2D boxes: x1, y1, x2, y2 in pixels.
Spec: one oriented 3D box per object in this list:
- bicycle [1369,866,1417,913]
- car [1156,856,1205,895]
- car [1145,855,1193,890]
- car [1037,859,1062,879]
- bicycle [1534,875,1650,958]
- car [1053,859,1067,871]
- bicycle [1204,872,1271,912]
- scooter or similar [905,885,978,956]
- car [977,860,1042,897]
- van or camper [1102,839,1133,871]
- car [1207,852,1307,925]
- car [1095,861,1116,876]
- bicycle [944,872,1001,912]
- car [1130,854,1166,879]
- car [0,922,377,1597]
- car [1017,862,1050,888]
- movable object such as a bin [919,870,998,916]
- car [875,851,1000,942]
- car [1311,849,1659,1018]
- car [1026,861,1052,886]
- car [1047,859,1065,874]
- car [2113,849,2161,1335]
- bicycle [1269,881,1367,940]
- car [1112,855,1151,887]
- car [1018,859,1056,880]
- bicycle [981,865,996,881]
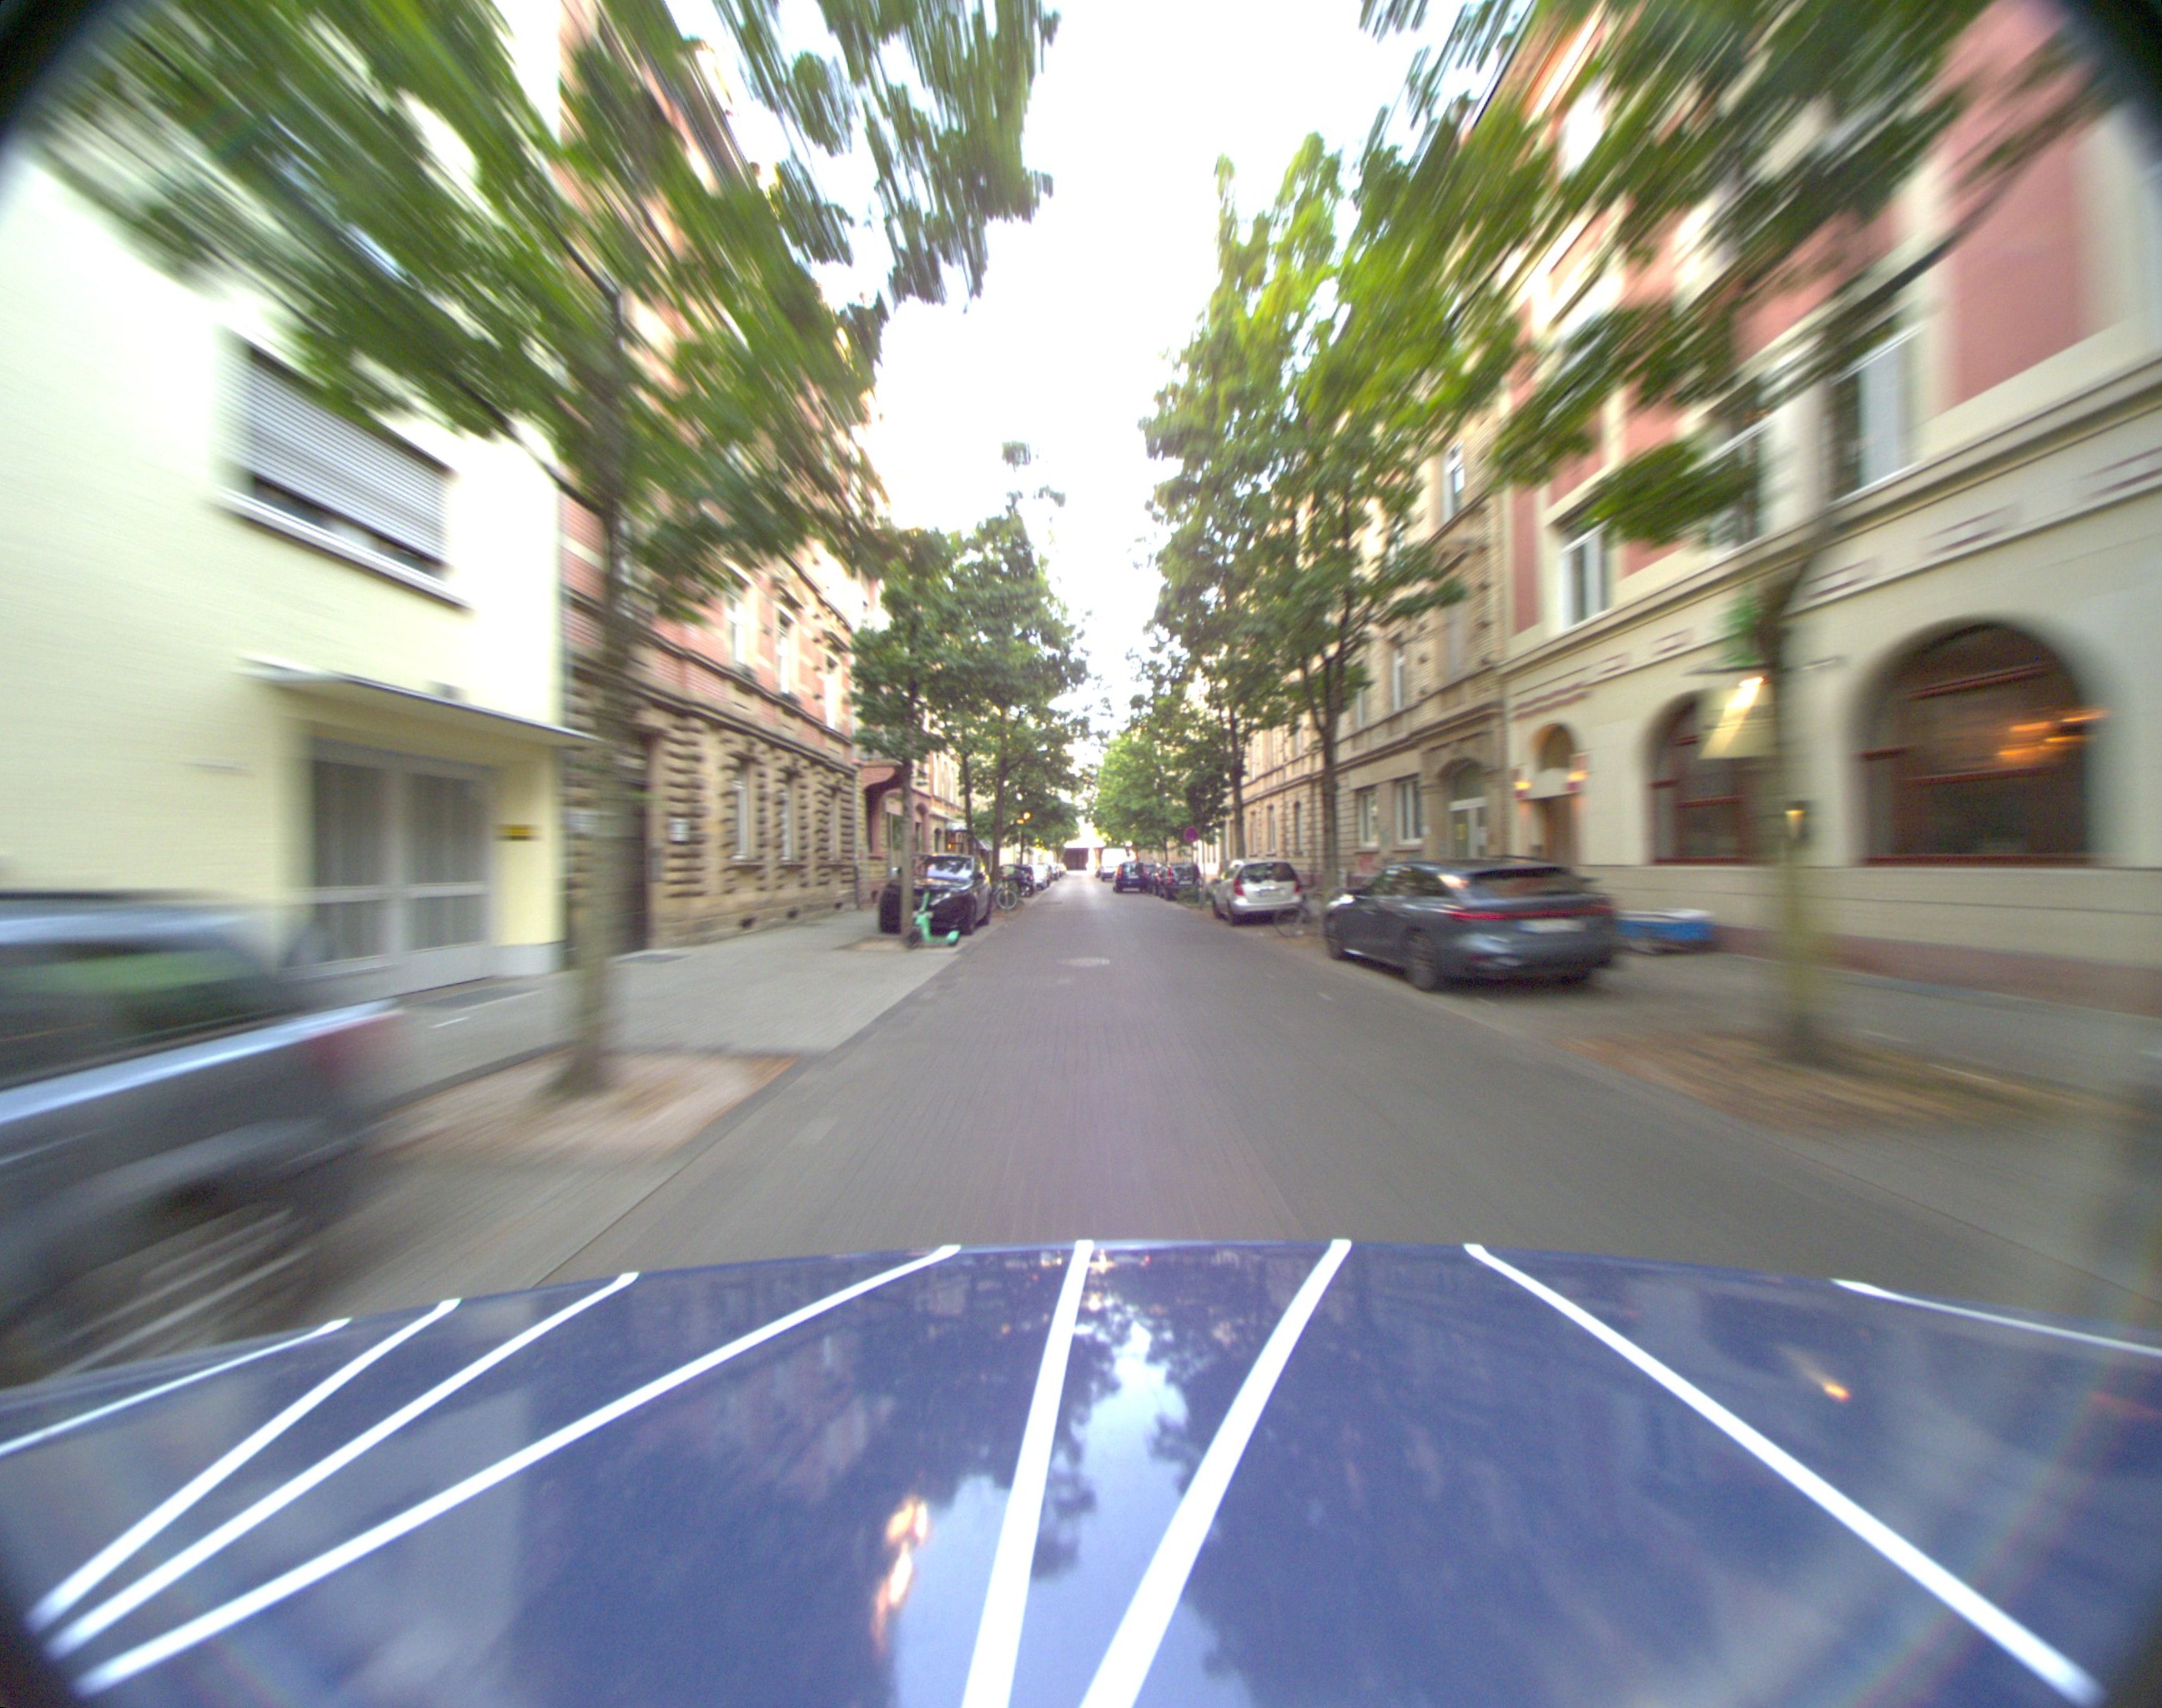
[{"bbox_3d":[7.796,0.864,19.053,0.462,1.083,1.630,-4,-1,1],"label":"bicycle"},{"bbox_3d":[4.146,0.864,31.995,1.523,1.493,3.561,-3,0,0],"label":"car"},{"bbox_3d":[4.104,0.849,35.880,1.695,1.493,3.711,-3,0,-1],"label":"car"},{"bbox_3d":[-2.704,1.264,65.603,1.944,1.621,4.454,-2,0,0],"label":"car"},{"bbox_3d":[7.576,0.884,11.373,0.527,1.091,1.795,-1,0,1],"label":"bicycle"},{"bbox_3d":[-2.723,1.429,98.849,1.657,1.500,3.869,-2,0,-2],"label":"car"},{"bbox_3d":[4.672,1.112,22.650,1.871,1.054,0.595,-3,1,-19],"label":"bicycle"},{"bbox_3d":[-2.538,1.187,13.890,0.673,1.183,1.118,2,1,40],"label":"scooter or similar"},{"bbox_3d":[-3.352,1.124,36.030,2.804,1.590,1.800,2,0,0],"label":"car"},{"bbox_3d":[2.880,0.108,60.788,2.225,2.416,5.660,-1,0,0],"label":"van or camper"},{"bbox_3d":[4.328,0.804,19.242,1.680,1.598,3.862,-2,0,2],"label":"car"},{"bbox_3d":[2.466,1.401,76.761,1.665,1.448,4.282,0,0,-4],"label":"car"},{"bbox_3d":[-3.651,1.266,25.630,1.766,1.286,0.802,1,0,-1],"label":"bicycle"},{"bbox_3d":[4.158,0.775,47.673,1.771,1.454,4.258,-1,0,-1],"label":"car"},{"bbox_3d":[-3.327,0.958,0.489,1.763,1.454,4.307,-1,0,-1],"label":"car"},{"bbox_3d":[-2.786,1.226,45.422,1.738,1.482,4.104,-1,0,0],"label":"car"},{"bbox_3d":[-3.739,1.188,23.317,2.221,1.297,0.771,2,0,3],"label":"movable object such as a bin"},{"bbox_3d":[-3.206,0.889,17.973,2.019,1.822,4.811,1,0,0],"label":"car"},{"bbox_3d":[4.522,0.755,9.508,1.810,1.509,4.685,-3,0,0],"label":"car"},{"bbox_3d":[-2.705,1.234,49.798,1.595,1.551,3.122,-1,0,-2],"label":"car"},{"bbox_3d":[-2.729,1.328,82.780,1.835,1.530,4.123,-1,0,0],"label":"car"},{"bbox_3d":[4.295,0.713,0.479,1.711,1.571,4.078,-3,-1,1],"label":"car"},{"bbox_3d":[4.530,1.072,14.585,1.688,0.997,0.430,-4,0,2],"label":"bicycle"},{"bbox_3d":[2.619,0.870,40.104,1.728,1.564,4.219,-1,0,0],"label":"car"},{"bbox_3d":[-3.290,1.164,57.353,2.721,1.564,1.526,1,0,0],"label":"car"},{"bbox_3d":[-6.123,1.265,50.384,0.688,1.030,1.950,1,0,1],"label":"bicycle"}]
